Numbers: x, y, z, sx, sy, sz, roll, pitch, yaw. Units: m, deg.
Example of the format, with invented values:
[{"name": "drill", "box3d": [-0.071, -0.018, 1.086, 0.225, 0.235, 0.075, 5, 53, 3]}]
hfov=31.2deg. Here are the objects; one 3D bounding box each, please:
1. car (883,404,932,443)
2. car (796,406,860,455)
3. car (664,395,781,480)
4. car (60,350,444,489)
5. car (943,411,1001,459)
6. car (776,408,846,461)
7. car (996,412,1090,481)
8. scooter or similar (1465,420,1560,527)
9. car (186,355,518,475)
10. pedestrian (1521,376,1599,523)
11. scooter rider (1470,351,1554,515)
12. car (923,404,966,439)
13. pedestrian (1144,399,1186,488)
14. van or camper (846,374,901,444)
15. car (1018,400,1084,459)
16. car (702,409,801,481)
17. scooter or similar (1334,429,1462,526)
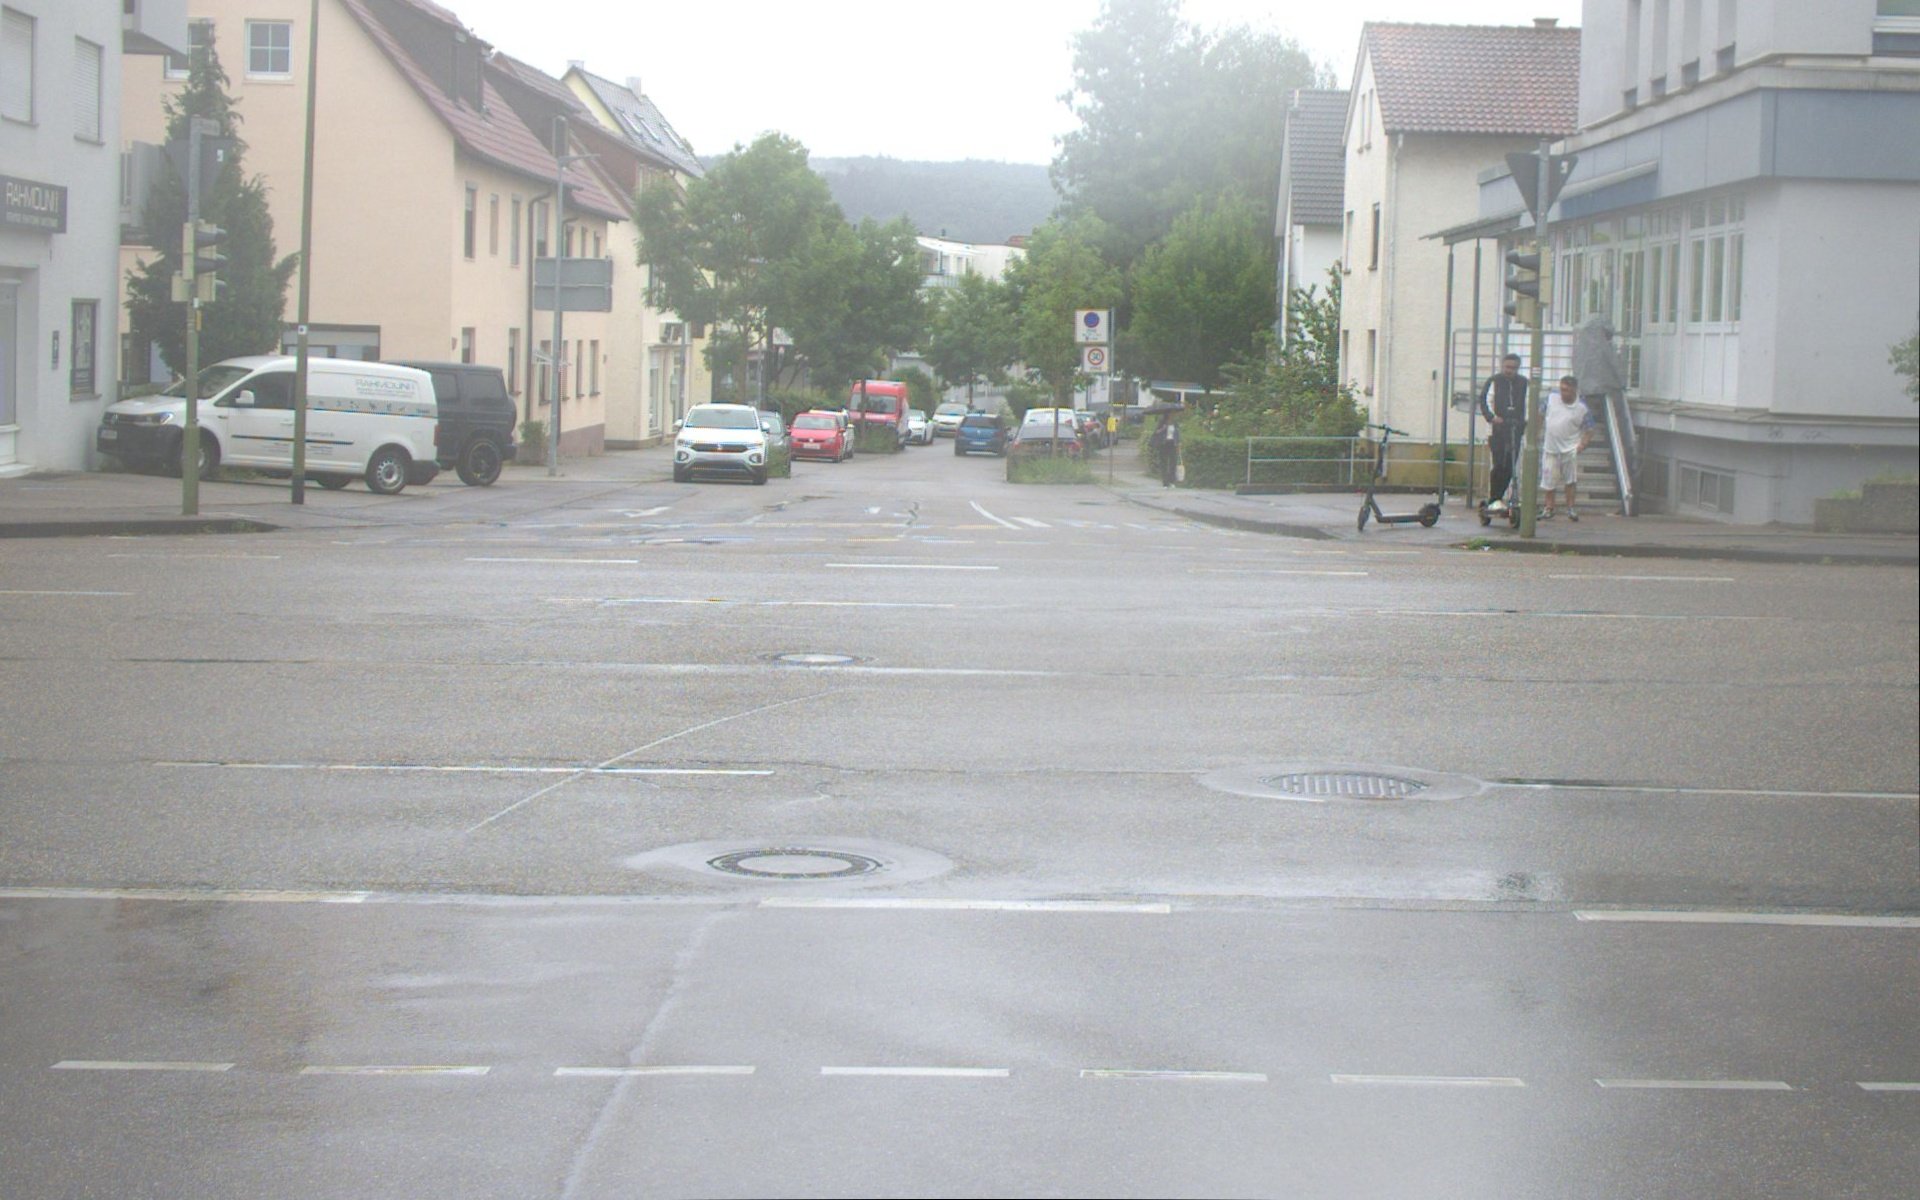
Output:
[{"name": "car", "box3d": [-2.109, -7.107, 138.736, 1.901, 1.553, 4.192, 0, 3, 0]}, {"name": "car", "box3d": [-4.325, -5.557, 112.944, 1.901, 1.553, 4.192, 0, 3, 0]}, {"name": "car", "box3d": [-4.674, -3.210, 68.119, 1.993, 1.620, 4.192, 0, 3, 0]}, {"name": "car", "box3d": [-9.776, -2.482, 47.687, 4.830, 1.829, 2.000, -2, 3, -38]}, {"name": "car", "box3d": [0.432, -5.881, 122.295, 1.993, 1.678, 4.001, 0, 3, 0]}, {"name": "car", "box3d": [-4.510, -5.035, 104.546, 1.901, 1.553, 4.192, 0, 3, 0]}, {"name": "car", "box3d": [1.948, -3.659, 81.697, 2.146, 1.583, 4.128, 0, 3, 0]}, {"name": "scooter or similar", "box3d": [6.121, -1.411, 38.137, 0.757, 1.167, 1.314, 0, 3, -3]}, {"name": "car", "box3d": [-9.644, -2.929, 54.750, 4.830, 1.829, 2.000, -2, 3, -38]}, {"name": "pedestrian", "box3d": [6.936, -1.738, 39.774, 0.647, 1.641, 0.526, 4, 2, -6]}, {"name": "scooter rider", "box3d": [6.118, -1.851, 38.125, 0.752, 1.789, 0.673, 0, 2, -5]}, {"name": "car", "box3d": [-0.691, -8.021, 154.713, 1.901, 1.553, 4.192, 0, 3, 0]}, {"name": "pedestrian", "box3d": [4.359, -3.325, 73.097, 0.745, 1.842, 0.526, 4, 2, 0]}, {"name": "van or camper", "box3d": [-3.176, -7.037, 127.088, 1.901, 2.504, 4.239, 0, 3, 0]}, {"name": "car", "box3d": [2.721, -5.139, 103.707, 1.901, 1.739, 4.192, 0, 3, 0]}, {"name": "car", "box3d": [-4.791, -3.592, 79.519, 1.993, 1.620, 4.192, 0, 3, 0]}, {"name": "scooter or similar", "box3d": [4.936, -1.389, 38.787, 1.268, 1.077, 0.877, 0, 3, -4]}]
